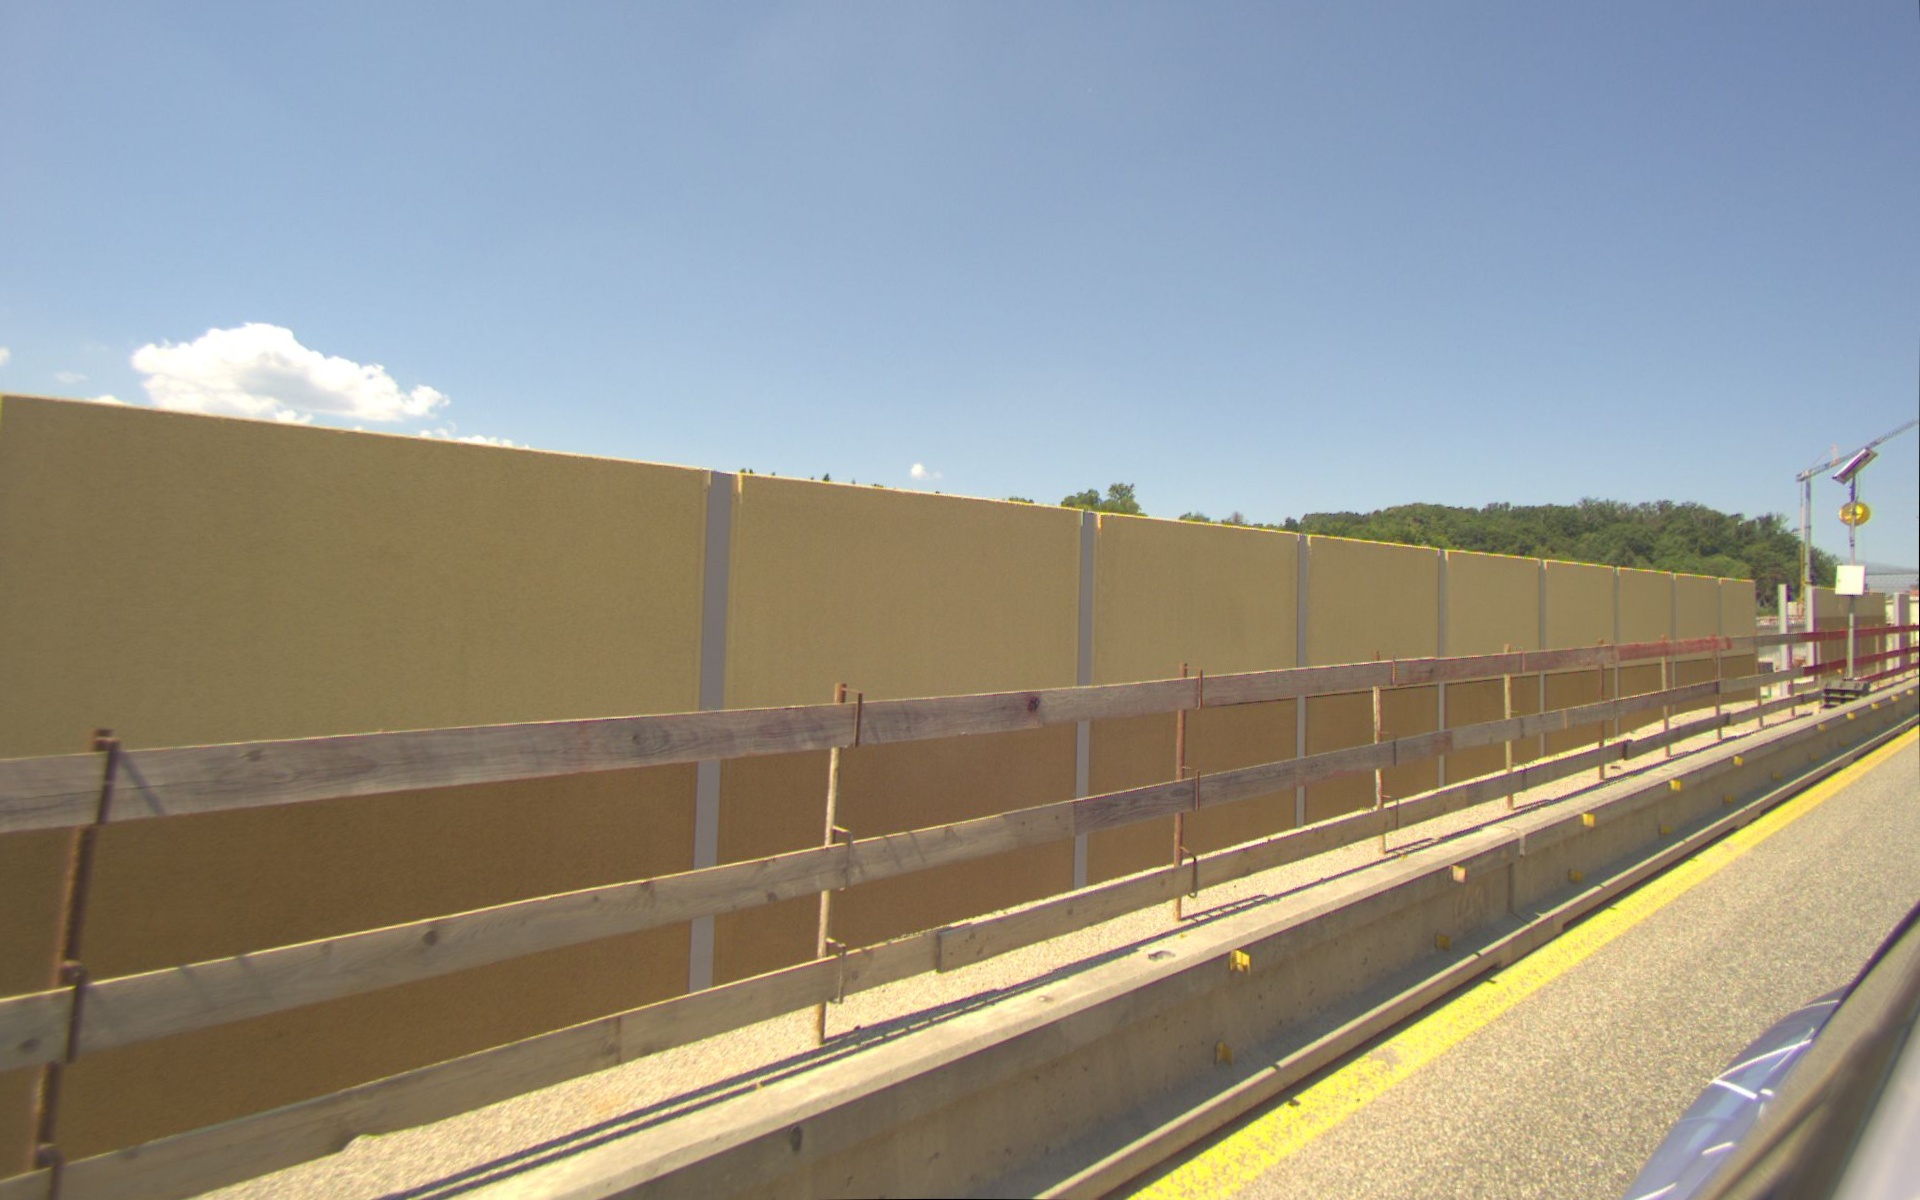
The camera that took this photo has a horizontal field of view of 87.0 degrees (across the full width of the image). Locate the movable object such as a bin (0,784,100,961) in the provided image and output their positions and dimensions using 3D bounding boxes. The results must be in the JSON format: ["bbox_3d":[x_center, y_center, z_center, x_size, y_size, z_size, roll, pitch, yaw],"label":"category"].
[{"bbox_3d":[-19.245,4.898,16.597,7.754,2.477,3.168,0,-2,-40],"label":"movable object such as a bin"}]
